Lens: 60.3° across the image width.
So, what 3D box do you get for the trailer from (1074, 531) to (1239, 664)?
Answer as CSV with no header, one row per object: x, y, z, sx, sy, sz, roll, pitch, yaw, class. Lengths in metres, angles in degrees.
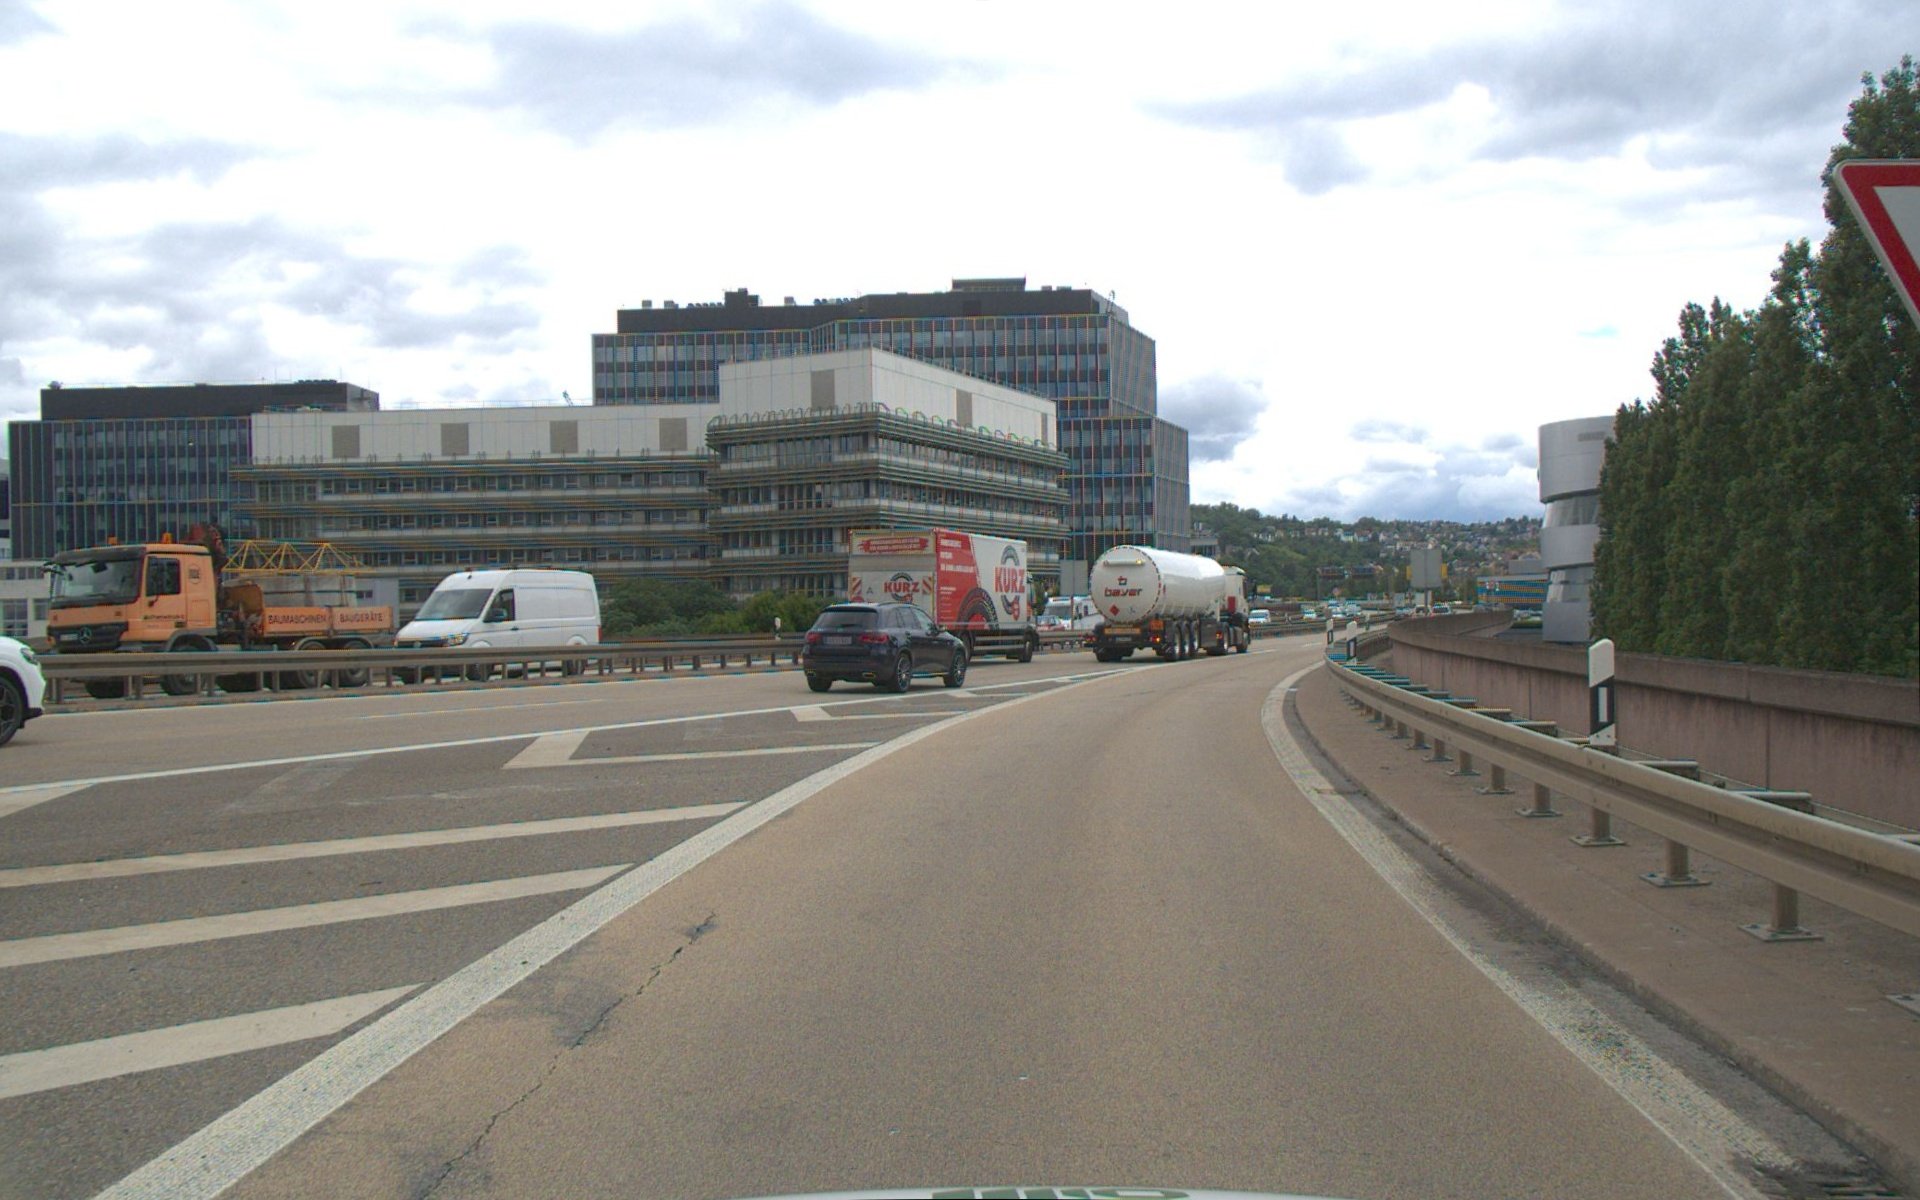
6.618,-0.079,53.630,2.734,3.803,11.157,-2,-1,20,trailer

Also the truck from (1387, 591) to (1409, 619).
63.660,0.704,240.248,2.345,3.961,5.944,-2,-1,20,truck

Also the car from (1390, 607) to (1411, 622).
46.688,1.562,175.278,1.951,1.565,4.002,0,-1,17,car

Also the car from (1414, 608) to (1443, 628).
42.677,1.612,150.701,1.954,1.564,3.999,5,0,23,car

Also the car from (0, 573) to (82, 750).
-10.706,0.593,14.821,1.953,1.698,4.890,-1,-1,23,car

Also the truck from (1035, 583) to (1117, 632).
6.705,0.410,94.965,2.440,2.672,7.347,-2,-1,22,truck

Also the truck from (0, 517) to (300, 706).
-16.530,0.248,34.110,2.684,3.541,5.107,-2,-1,19,truck

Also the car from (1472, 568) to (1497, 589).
42.942,-1.727,135.360,1.660,1.578,3.641,-2,-2,22,car

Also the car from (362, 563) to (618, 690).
-10.715,0.573,38.388,2.525,2.690,6.191,0,0,21,car

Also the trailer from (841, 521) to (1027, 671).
-0.561,-0.086,45.665,2.634,3.755,7.315,-2,-1,20,trailer

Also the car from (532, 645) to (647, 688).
-12.478,2.213,55.973,1.609,1.257,4.280,-2,-1,22,car

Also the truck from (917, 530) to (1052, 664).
0.810,-0.079,49.466,2.635,3.755,4.440,-2,-1,20,truck

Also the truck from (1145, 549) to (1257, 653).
8.731,0.049,59.424,2.712,3.490,5.966,-2,-1,20,truck

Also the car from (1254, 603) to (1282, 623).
28.381,1.219,152.170,1.828,1.741,4.603,-2,-1,19,car

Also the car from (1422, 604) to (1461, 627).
37.106,1.199,127.431,1.957,1.564,3.994,6,1,28,car

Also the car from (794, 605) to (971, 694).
-1.375,0.891,31.325,1.808,1.531,4.265,1,0,21,car

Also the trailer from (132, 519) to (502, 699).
-14.781,0.212,39.162,2.677,3.700,9.359,-2,-1,19,trailer
